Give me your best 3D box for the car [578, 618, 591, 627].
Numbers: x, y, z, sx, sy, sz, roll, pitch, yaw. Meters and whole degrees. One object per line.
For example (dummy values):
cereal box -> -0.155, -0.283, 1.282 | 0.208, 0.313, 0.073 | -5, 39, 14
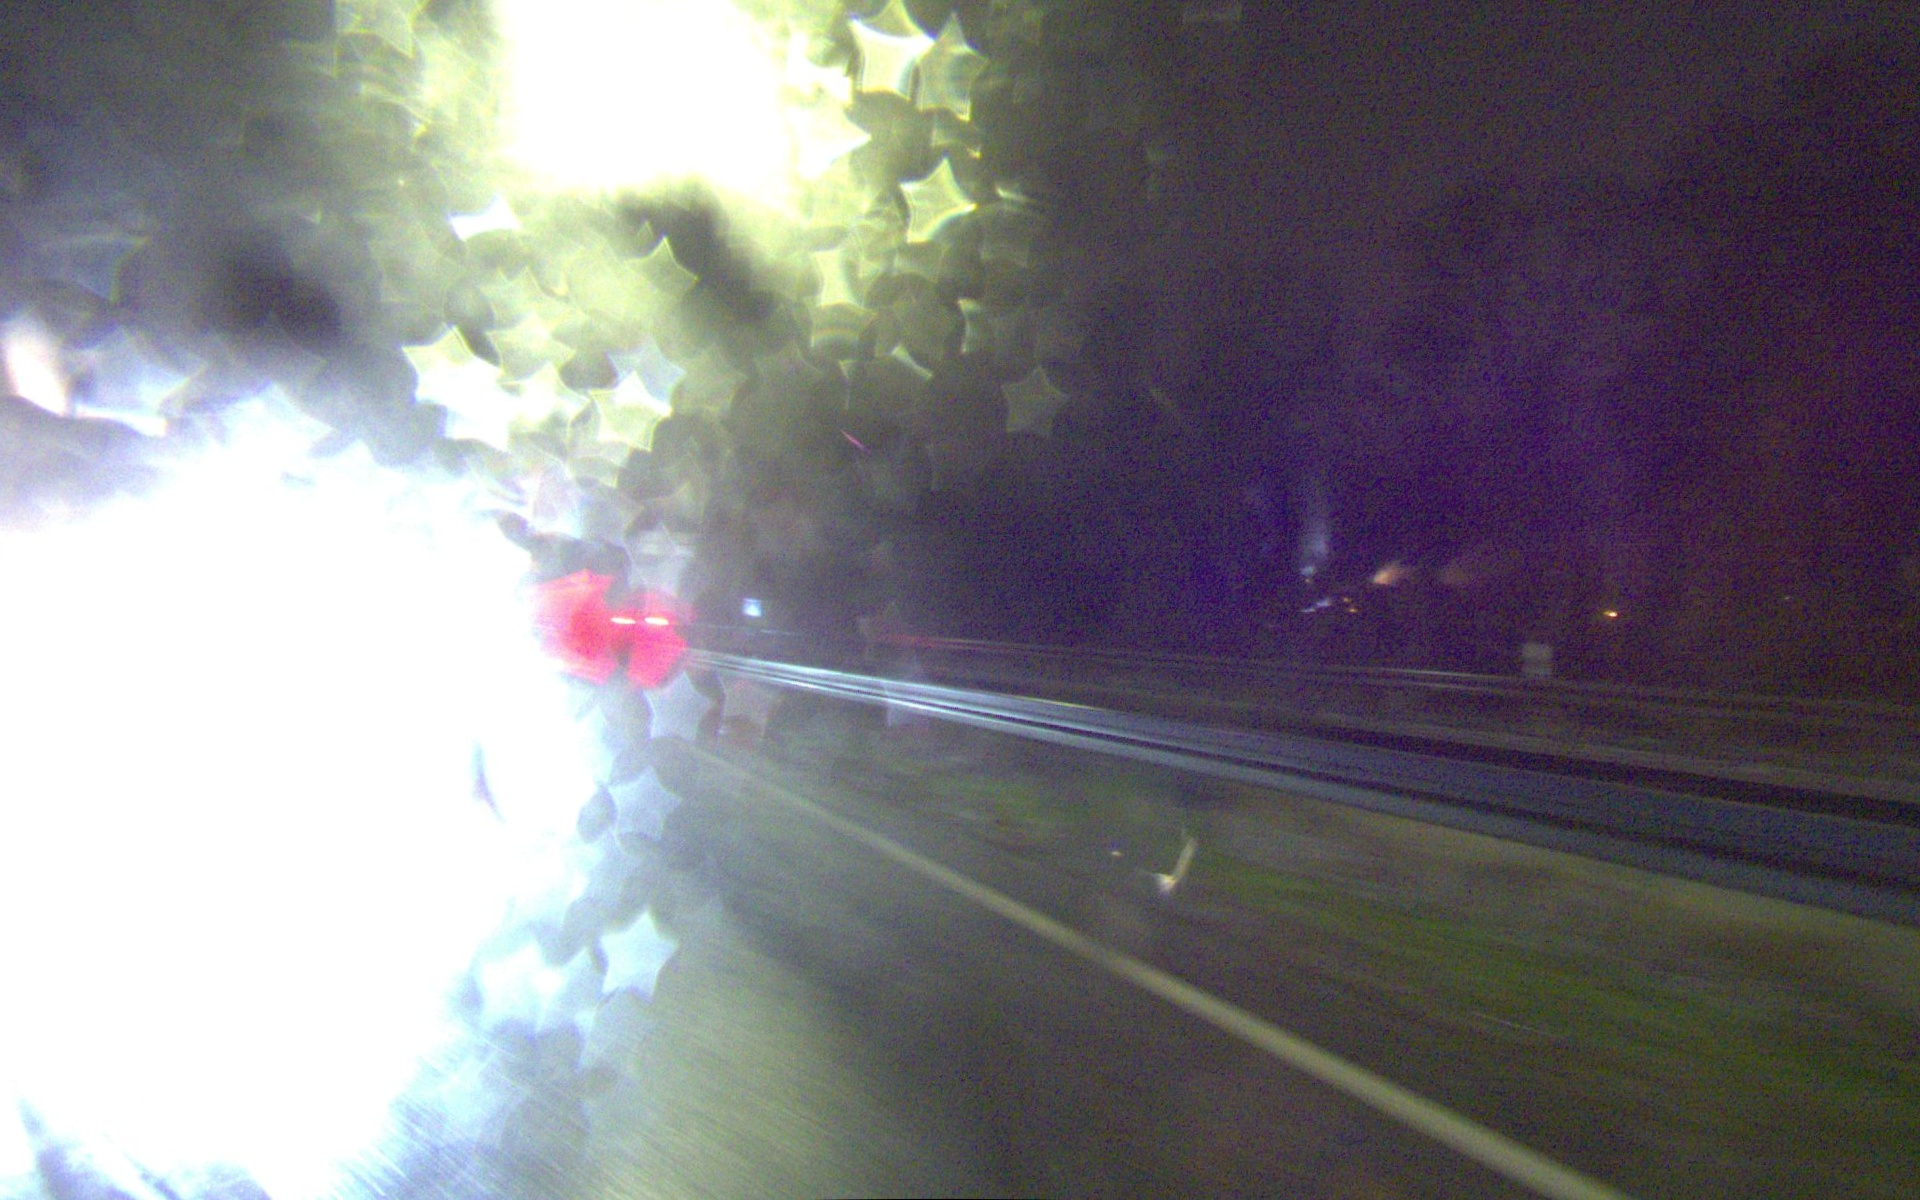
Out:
car -> -70.874, 4.205, 191.083 | 1.835, 1.660, 4.013 | 0, 0, -26

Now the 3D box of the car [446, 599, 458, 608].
car -> -95.325, 0.661, 189.832 | 1.759, 1.660, 4.012 | 0, 0, -29

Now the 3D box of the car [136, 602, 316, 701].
car -> -12.285, 0.786, 17.217 | 1.965, 1.475, 4.013 | 1, -1, -29

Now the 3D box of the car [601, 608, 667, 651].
car -> -12.919, 1.127, 39.972 | 1.727, 1.564, 4.022 | 1, -1, -29

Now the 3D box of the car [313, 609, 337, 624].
car -> -70.415, 1.831, 112.266 | 1.966, 1.679, 4.012 | 1, -1, -29

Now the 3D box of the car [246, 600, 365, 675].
car -> -14.815, 0.799, 23.112 | 1.965, 1.552, 4.013 | 1, -1, -29

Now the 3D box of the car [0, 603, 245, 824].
car -> -7.521, 0.791, 8.740 | 1.735, 1.512, 4.013 | 0, 0, -29
